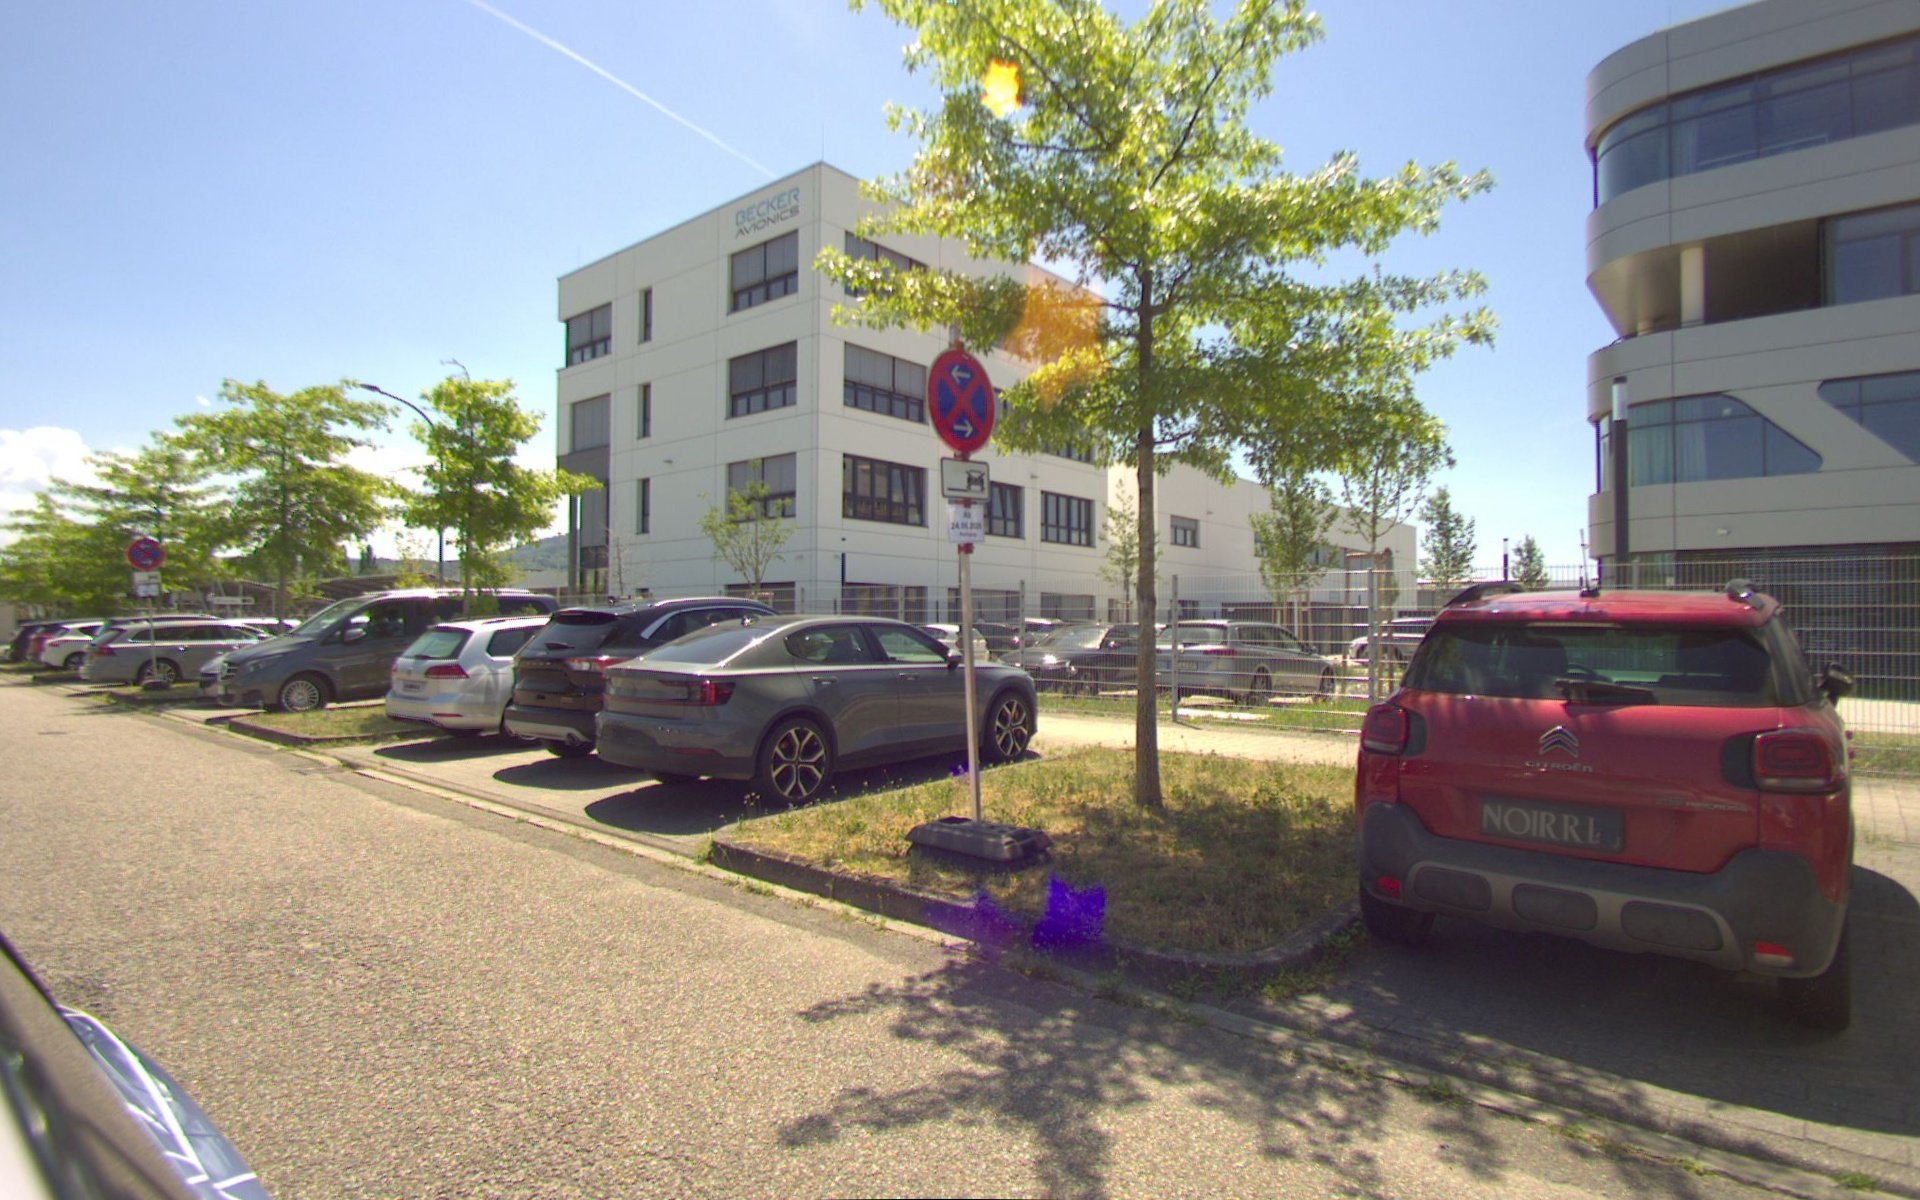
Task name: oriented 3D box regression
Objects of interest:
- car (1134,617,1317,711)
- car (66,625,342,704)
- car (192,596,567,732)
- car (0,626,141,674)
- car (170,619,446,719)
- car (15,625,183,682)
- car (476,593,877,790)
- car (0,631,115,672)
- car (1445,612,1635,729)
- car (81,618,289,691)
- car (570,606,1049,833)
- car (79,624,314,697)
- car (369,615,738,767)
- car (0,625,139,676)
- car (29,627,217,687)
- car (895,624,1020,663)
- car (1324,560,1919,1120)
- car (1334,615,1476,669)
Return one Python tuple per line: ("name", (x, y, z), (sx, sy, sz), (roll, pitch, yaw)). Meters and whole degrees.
("car", (4.534, 1.049, 17.037), (1.677, 1.401, 3.443), (-2, -4, 40))
("car", (-16.781, 1.359, 22.678), (1.856, 1.458, 4.665), (-2, -1, 40))
("car", (-9.374, 0.915, 16.722), (1.997, 1.906, 5.015), (-2, -1, 42))
("car", (-33.715, 1.864, 38.377), (1.827, 1.605, 3.802), (-2, -1, 38))
("car", (-11.841, 1.174, 18.561), (1.763, 1.495, 3.927), (-2, 0, 41))
("car", (-27.179, 1.645, 32.031), (1.725, 1.604, 3.801), (-2, -1, 39))
("car", (-2.878, 0.812, 11.027), (1.774, 1.691, 3.951), (-1, 0, 36))
("car", (-35.664, 1.997, 39.847), (1.726, 1.452, 3.468), (-2, -1, 40))
("car", (8.094, 0.951, 14.004), (1.677, 1.401, 3.443), (-2, -4, 40))
("car", (-20.108, 1.359, 26.364), (1.727, 1.647, 4.073), (-2, -1, 43))
("car", (-1.125, 0.849, 9.131), (1.712, 1.491, 4.149), (-2, 0, 41))
("car", (-18.451, 1.403, 24.630), (1.725, 1.484, 4.269), (-2, -1, 39))
("car", (-4.868, 0.987, 12.611), (1.602, 1.472, 3.998), (-1, 0, 38))
("car", (-31.963, 1.767, 36.199), (1.728, 1.604, 3.862), (-2, -1, 45))
("car", (-24.968, 1.677, 30.304), (1.807, 1.524, 4.127), (-3, -1, 42))
("car", (-0.123, 1.474, 34.741), (3.998, 1.237, 1.973), (0, -2, 41))
("car", (3.398, 0.705, 4.901), (1.816, 1.633, 3.698), (-2, -1, 42))
("car", (15.014, 1.417, 34.252), (3.998, 1.730, 1.973), (-2, -3, 41))
